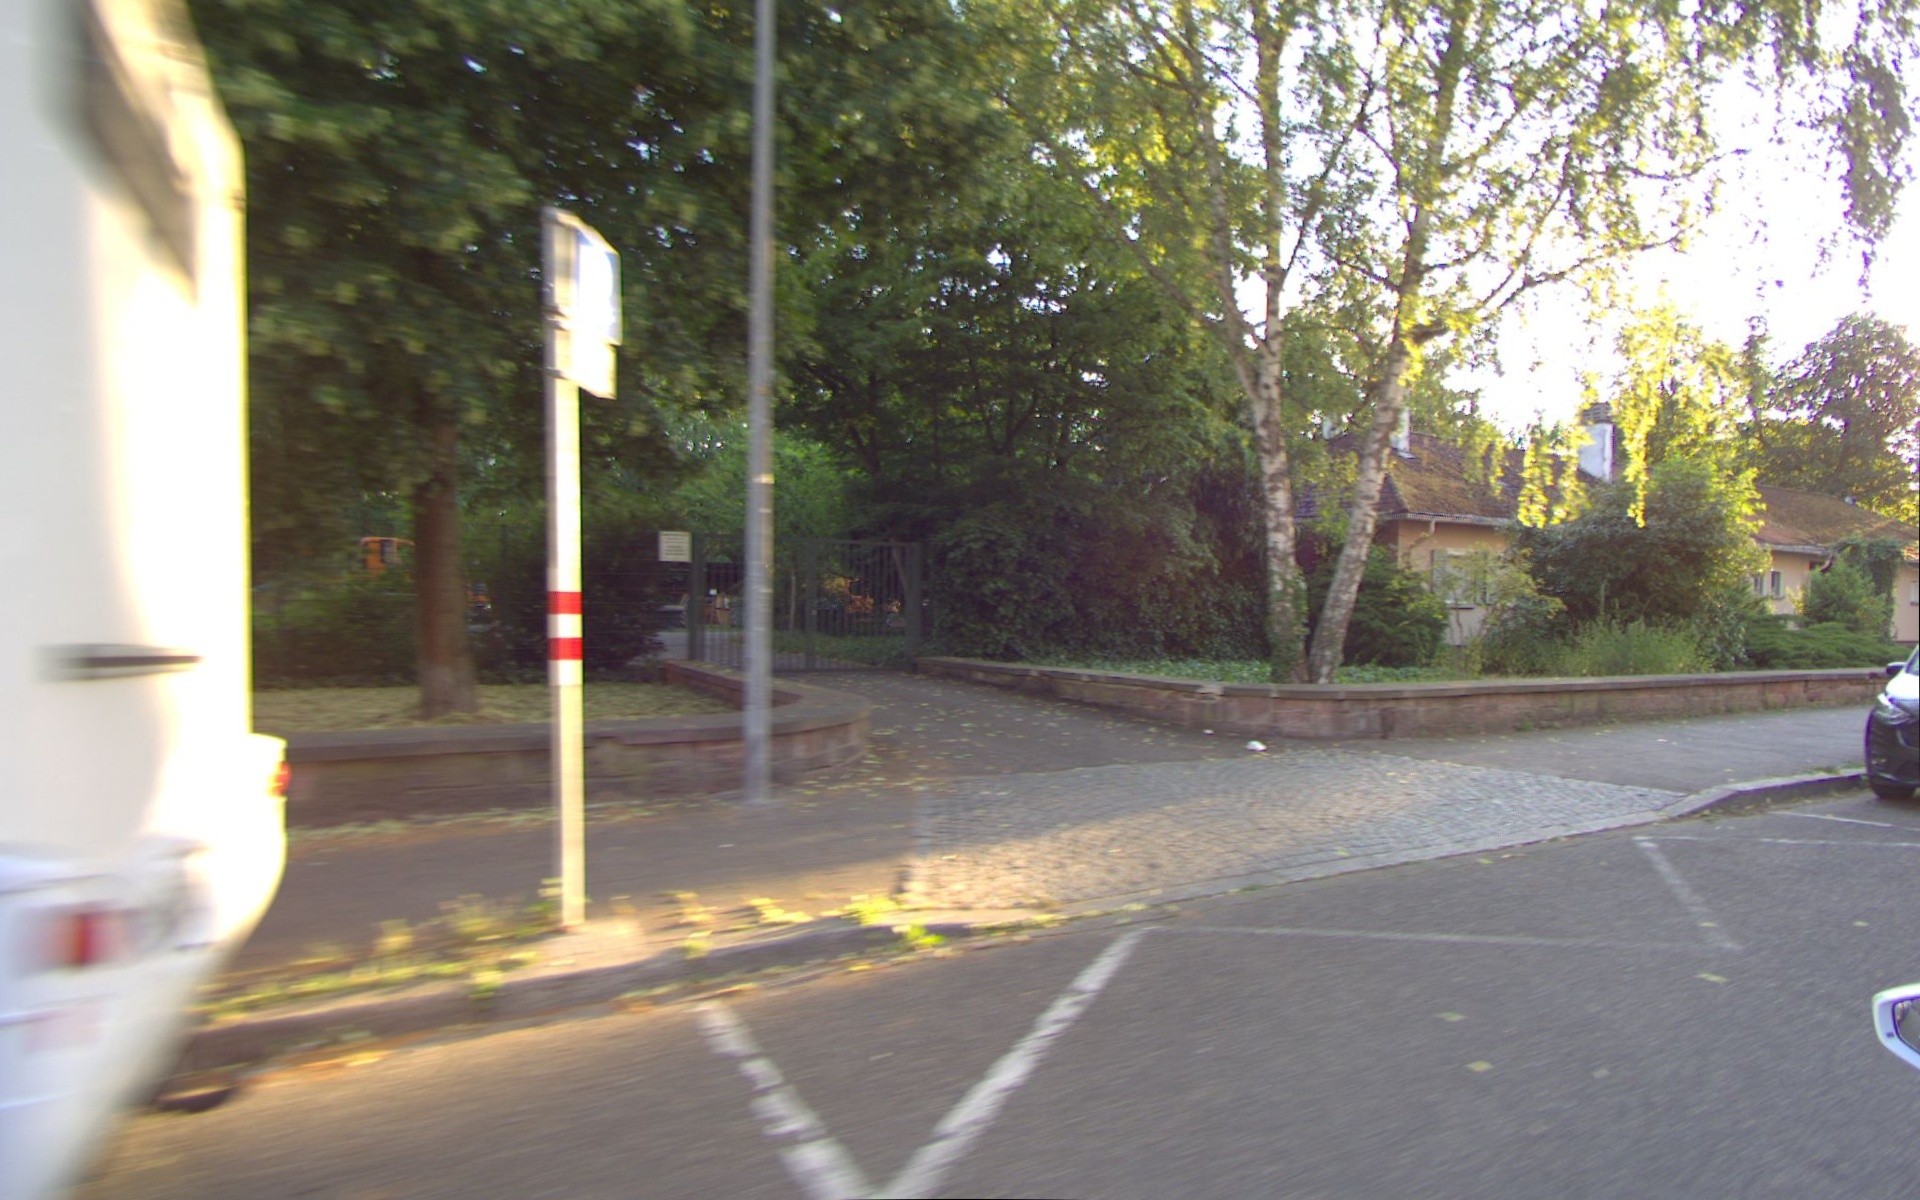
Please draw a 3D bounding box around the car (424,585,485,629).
[{"bbox_3d":[-24.718,0.317,49.084,1.982,2.040,3.957,1,0,-37],"label":"car"}]

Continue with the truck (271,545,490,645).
[{"bbox_3d":[-17.208,-0.143,29.940,5.457,2.741,2.225,1,2,-36],"label":"truck"}]

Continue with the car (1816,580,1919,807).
[{"bbox_3d":[9.925,0.777,9.037,4.891,1.811,1.901,1,-1,-30],"label":"car"}]

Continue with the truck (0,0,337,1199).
[{"bbox_3d":[-5.159,-0.296,0.589,7.917,3.397,2.516,1,-3,-28],"label":"truck"}]
